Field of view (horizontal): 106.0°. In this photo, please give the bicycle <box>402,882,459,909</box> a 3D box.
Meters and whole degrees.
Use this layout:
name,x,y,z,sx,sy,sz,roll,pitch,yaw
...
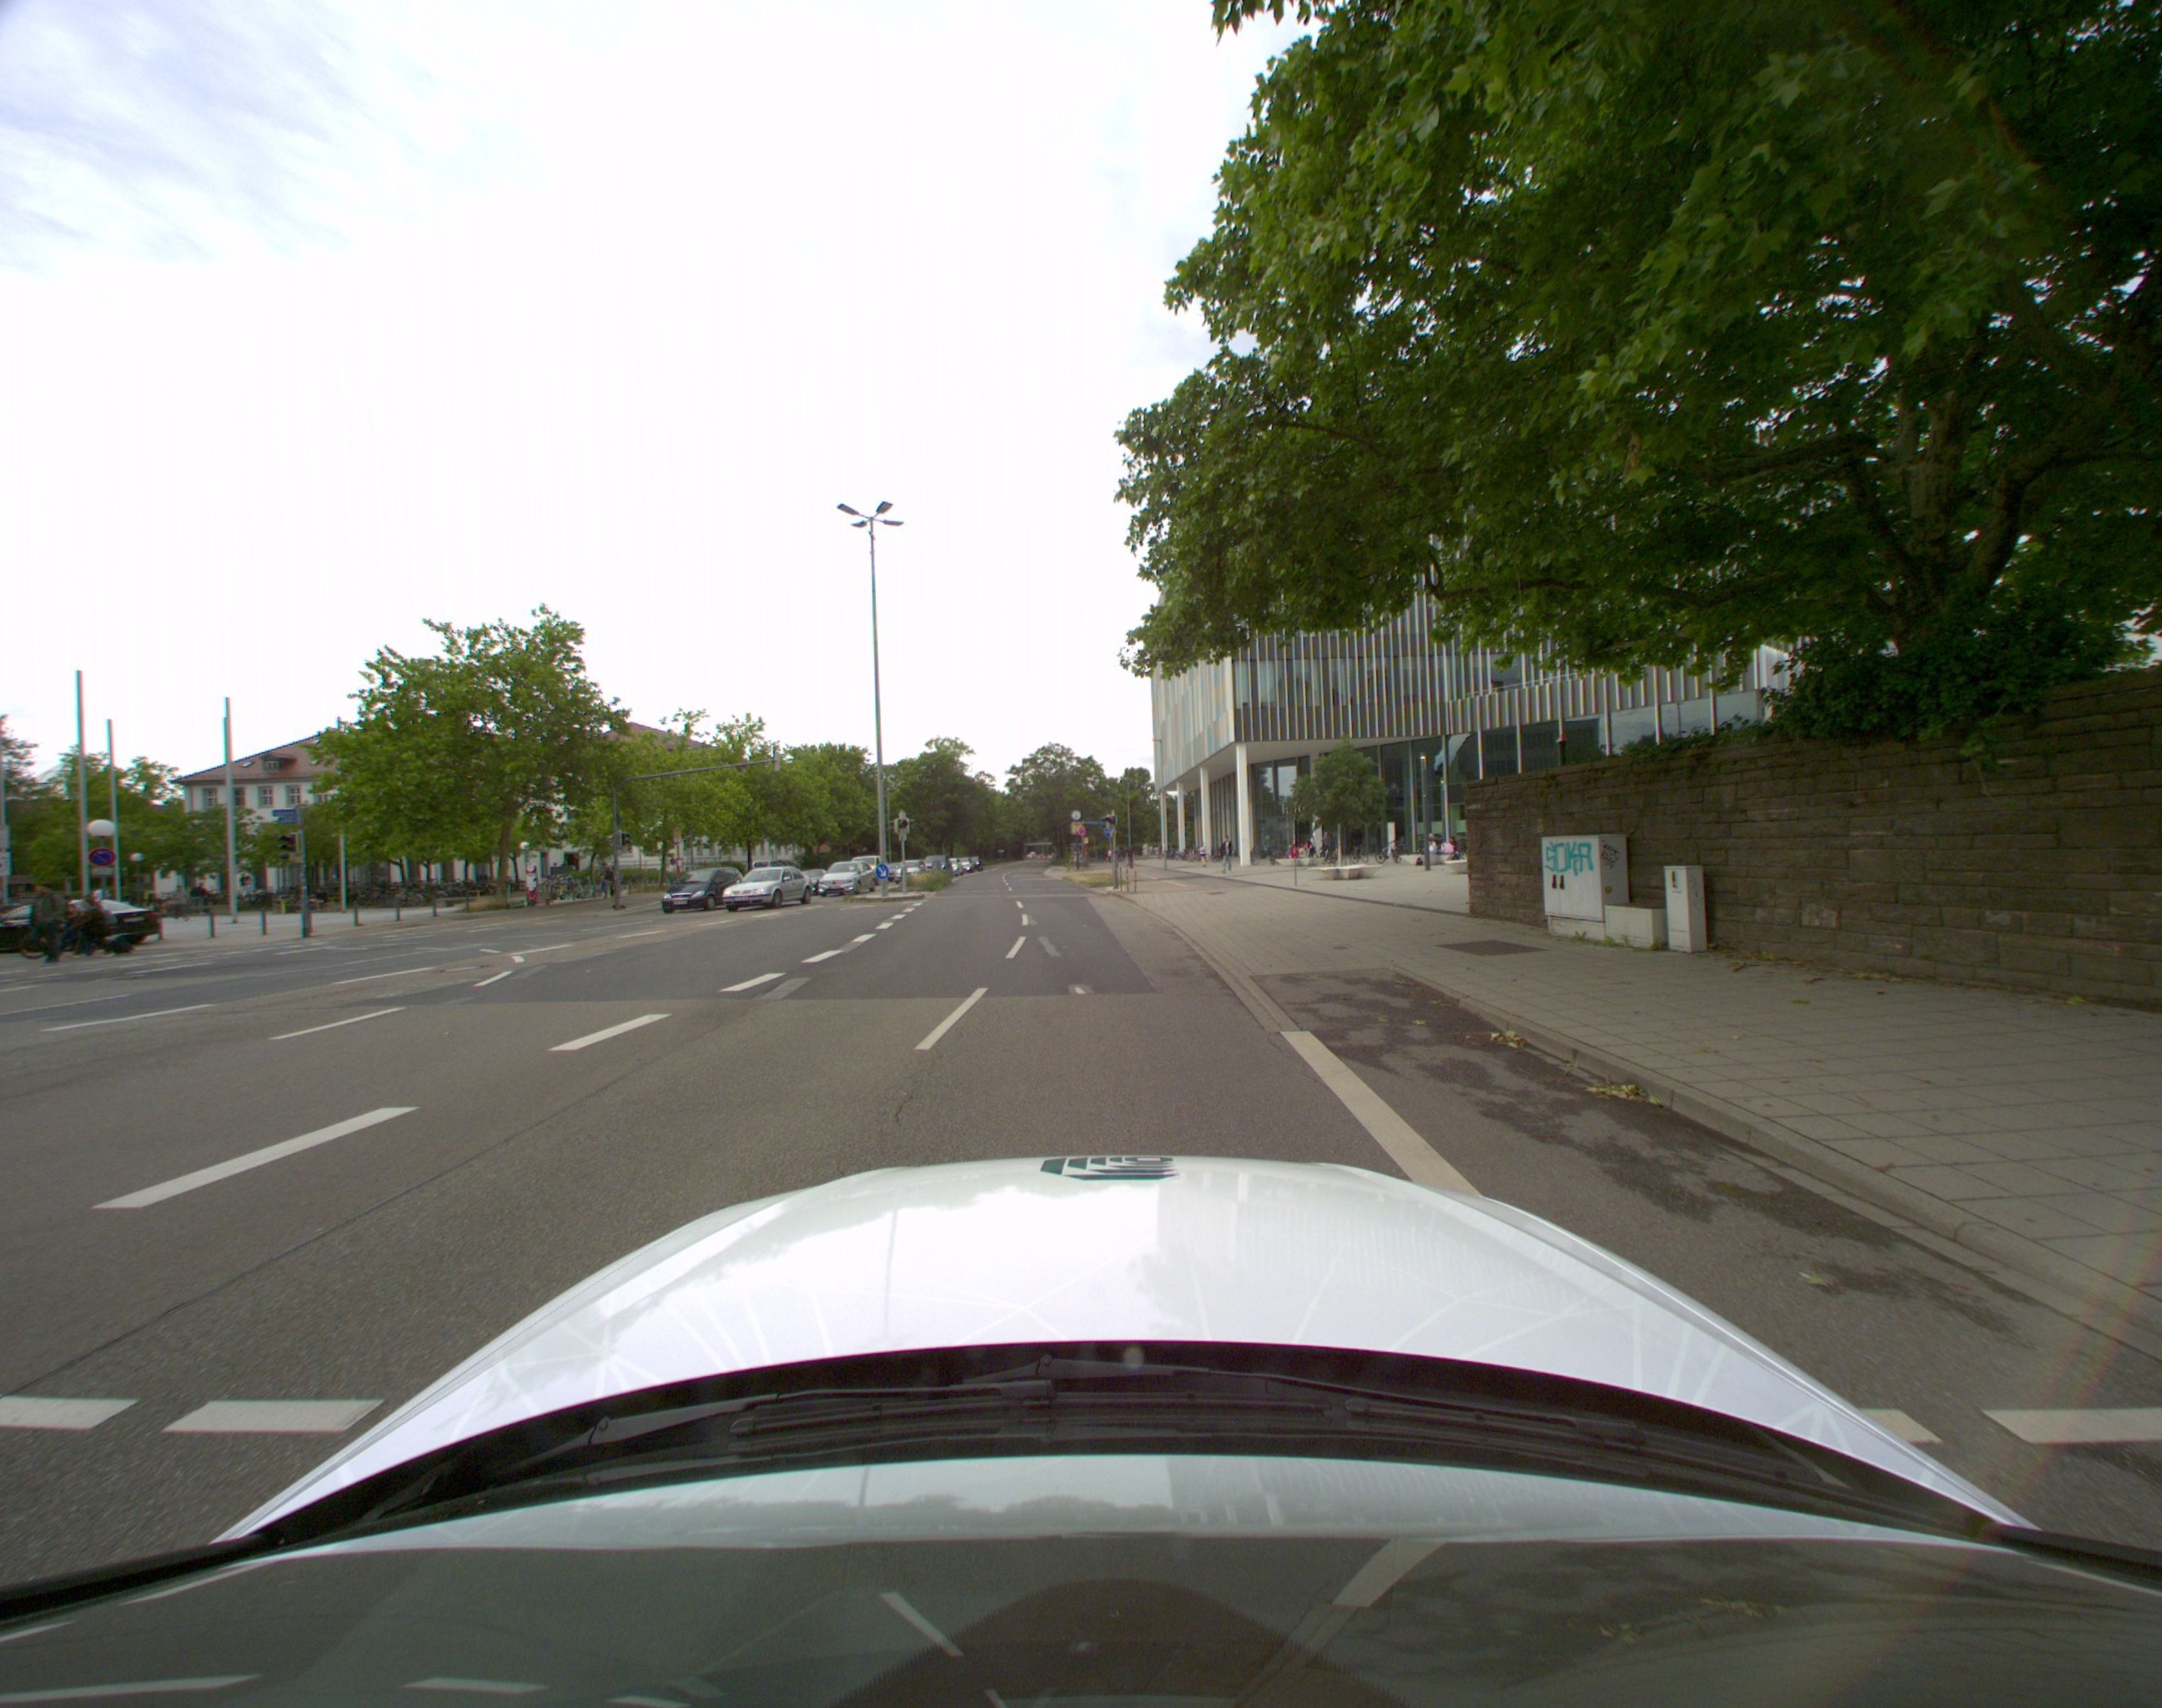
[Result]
name,x,y,z,sx,sy,sz,roll,pitch,yaw
bicycle,-36.683,2.339,45.951,2.481,1.353,0.720,-3,0,-6

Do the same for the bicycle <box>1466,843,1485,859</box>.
name,x,y,z,sx,sy,sz,roll,pitch,yaw
bicycle,20.077,-0.160,41.456,0.484,0.691,1.194,-3,2,44

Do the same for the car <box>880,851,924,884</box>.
name,x,y,z,sx,sy,sz,roll,pitch,yaw
car,-11.676,0.842,53.389,1.988,2.013,3.998,-3,0,-1

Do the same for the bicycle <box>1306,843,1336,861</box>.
name,x,y,z,sx,sy,sz,roll,pitch,yaw
bicycle,14.475,-0.126,49.071,1.971,1.002,0.765,-3,0,-43

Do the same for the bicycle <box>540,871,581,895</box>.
name,x,y,z,sx,sy,sz,roll,pitch,yaw
bicycle,-37.648,2.126,58.922,2.396,1.594,0.720,-3,0,-6

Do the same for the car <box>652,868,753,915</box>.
name,x,y,z,sx,sy,sz,roll,pitch,yaw
car,-13.907,1.325,30.170,1.845,1.463,3.699,-3,0,2

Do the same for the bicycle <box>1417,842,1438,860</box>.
name,x,y,z,sx,sy,sz,roll,pitch,yaw
bicycle,18.345,-0.176,43.135,0.536,0.899,1.365,-3,0,44

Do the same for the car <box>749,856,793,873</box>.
name,x,y,z,sx,sy,sz,roll,pitch,yaw
car,-29.513,0.984,77.611,3.578,1.601,1.650,-1,0,-4

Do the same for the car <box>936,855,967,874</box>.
name,x,y,z,sx,sy,sz,roll,pitch,yaw
car,-10.821,0.830,68.445,1.898,1.465,4.908,-1,0,-1

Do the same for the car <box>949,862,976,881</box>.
name,x,y,z,sx,sy,sz,roll,pitch,yaw
car,-11.254,1.619,77.527,1.988,1.547,4.177,-4,0,-1

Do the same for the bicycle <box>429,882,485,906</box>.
name,x,y,z,sx,sy,sz,roll,pitch,yaw
bicycle,-36.628,2.329,47.840,2.531,1.269,0.720,-3,0,-6

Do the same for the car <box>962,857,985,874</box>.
name,x,y,z,sx,sy,sz,roll,pitch,yaw
car,-11.428,1.192,86.592,1.897,1.593,4.514,-3,0,-1

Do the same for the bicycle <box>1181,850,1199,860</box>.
name,x,y,z,sx,sy,sz,roll,pitch,yaw
bicycle,10.288,0.094,77.130,1.601,0.874,0.556,-3,0,-1

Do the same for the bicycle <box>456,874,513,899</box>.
name,x,y,z,sx,sy,sz,roll,pitch,yaw
bicycle,-36.986,2.007,50.515,2.814,1.329,0.720,-3,0,-6

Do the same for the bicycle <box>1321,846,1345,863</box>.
name,x,y,z,sx,sy,sz,roll,pitch,yaw
bicycle,14.995,0.009,48.374,0.663,0.899,1.857,-3,0,40

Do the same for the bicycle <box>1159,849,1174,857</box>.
name,x,y,z,sx,sy,sz,roll,pitch,yaw
bicycle,9.805,-0.095,93.674,1.601,0.874,0.556,-3,0,-1

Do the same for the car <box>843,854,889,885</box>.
name,x,y,z,sx,sy,sz,roll,pitch,yaw
car,-13.815,0.969,52.506,1.766,1.848,4.488,-1,0,0

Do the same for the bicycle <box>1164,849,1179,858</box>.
name,x,y,z,sx,sy,sz,roll,pitch,yaw
bicycle,10.195,-0.072,92.082,1.601,0.874,0.556,-3,0,-1

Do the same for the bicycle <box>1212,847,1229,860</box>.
name,x,y,z,sx,sy,sz,roll,pitch,yaw
bicycle,11.149,-0.051,64.910,1.496,0.929,0.435,-4,2,-41

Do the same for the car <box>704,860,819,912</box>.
name,x,y,z,sx,sy,sz,roll,pitch,yaw
car,-11.011,1.042,28.447,1.984,1.529,4.279,-2,0,4

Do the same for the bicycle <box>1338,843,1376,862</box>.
name,x,y,z,sx,sy,sz,roll,pitch,yaw
bicycle,15.785,-0.098,46.566,2.199,1.006,0.774,-3,0,-32

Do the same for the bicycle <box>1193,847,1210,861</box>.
name,x,y,z,sx,sy,sz,roll,pitch,yaw
bicycle,9.878,0.036,66.673,0.608,1.080,1.954,-4,1,-13

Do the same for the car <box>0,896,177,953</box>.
name,x,y,z,sx,sy,sz,roll,pitch,yaw
car,-30.286,2.072,24.301,4.135,1.472,1.996,-1,0,-5

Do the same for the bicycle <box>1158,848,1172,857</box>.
name,x,y,z,sx,sy,sz,roll,pitch,yaw
bicycle,9.767,-0.176,94.631,1.601,0.874,0.556,-3,0,-1

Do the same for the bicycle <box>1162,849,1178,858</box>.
name,x,y,z,sx,sy,sz,roll,pitch,yaw
bicycle,9.295,-0.097,85.125,1.528,0.833,0.556,-3,0,-1

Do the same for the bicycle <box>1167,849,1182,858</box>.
name,x,y,z,sx,sy,sz,roll,pitch,yaw
bicycle,10.398,-0.084,90.899,1.601,0.874,0.556,-3,0,-1

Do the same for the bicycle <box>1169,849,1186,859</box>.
name,x,y,z,sx,sy,sz,roll,pitch,yaw
bicycle,9.545,-0.003,80.807,1.601,0.874,0.556,-3,0,-1

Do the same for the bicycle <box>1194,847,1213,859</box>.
name,x,y,z,sx,sy,sz,roll,pitch,yaw
bicycle,10.894,-0.082,72.183,1.597,0.936,0.570,-5,1,9

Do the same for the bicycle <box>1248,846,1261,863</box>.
name,x,y,z,sx,sy,sz,roll,pitch,yaw
bicycle,11.596,0.023,54.469,0.636,1.061,1.842,0,0,3

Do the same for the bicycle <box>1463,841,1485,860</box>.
name,x,y,z,sx,sy,sz,roll,pitch,yaw
bicycle,20.180,-0.188,41.807,0.503,0.899,1.560,-3,0,44

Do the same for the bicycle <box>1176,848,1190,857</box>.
name,x,y,z,sx,sy,sz,roll,pitch,yaw
bicycle,10.016,-0.162,80.078,1.279,0.874,0.556,-3,0,-1

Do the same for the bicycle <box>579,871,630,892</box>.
name,x,y,z,sx,sy,sz,roll,pitch,yaw
bicycle,-31.196,1.795,53.338,2.742,1.174,0.720,-3,0,-6

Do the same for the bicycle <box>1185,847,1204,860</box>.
name,x,y,z,sx,sy,sz,roll,pitch,yaw
bicycle,10.273,-0.044,73.647,1.602,0.982,0.556,-5,0,-1

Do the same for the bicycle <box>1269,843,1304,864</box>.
name,x,y,z,sx,sy,sz,roll,pitch,yaw
bicycle,12.887,-0.061,50.961,2.735,1.188,0.765,-3,0,-43

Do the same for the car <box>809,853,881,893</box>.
name,x,y,z,sx,sy,sz,roll,pitch,yaw
car,-11.055,0.842,38.475,1.950,1.584,4.257,-4,1,1

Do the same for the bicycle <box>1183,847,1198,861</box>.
name,x,y,z,sx,sy,sz,roll,pitch,yaw
bicycle,9.327,0.019,69.459,0.635,1.140,2.197,-5,0,-5

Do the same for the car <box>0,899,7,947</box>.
name,x,y,z,sx,sy,sz,roll,pitch,yaw
car,-35.069,2.151,23.958,3.981,1.472,1.997,-1,0,-5

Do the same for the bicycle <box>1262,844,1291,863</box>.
name,x,y,z,sx,sy,sz,roll,pitch,yaw
bicycle,12.594,-0.056,52.354,2.196,1.115,0.727,-3,0,-45

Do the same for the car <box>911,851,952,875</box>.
name,x,y,z,sx,sy,sz,roll,pitch,yaw
car,-11.157,0.611,61.096,1.986,1.687,4.950,-1,0,2

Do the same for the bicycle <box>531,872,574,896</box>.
name,x,y,z,sx,sy,sz,roll,pitch,yaw
bicycle,-37.476,2.129,57.764,2.396,1.594,0.720,-3,0,-6

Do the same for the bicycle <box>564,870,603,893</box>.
name,x,y,z,sx,sy,sz,roll,pitch,yaw
bicycle,-37.972,2.115,62.130,2.396,1.594,0.720,-3,0,-6
